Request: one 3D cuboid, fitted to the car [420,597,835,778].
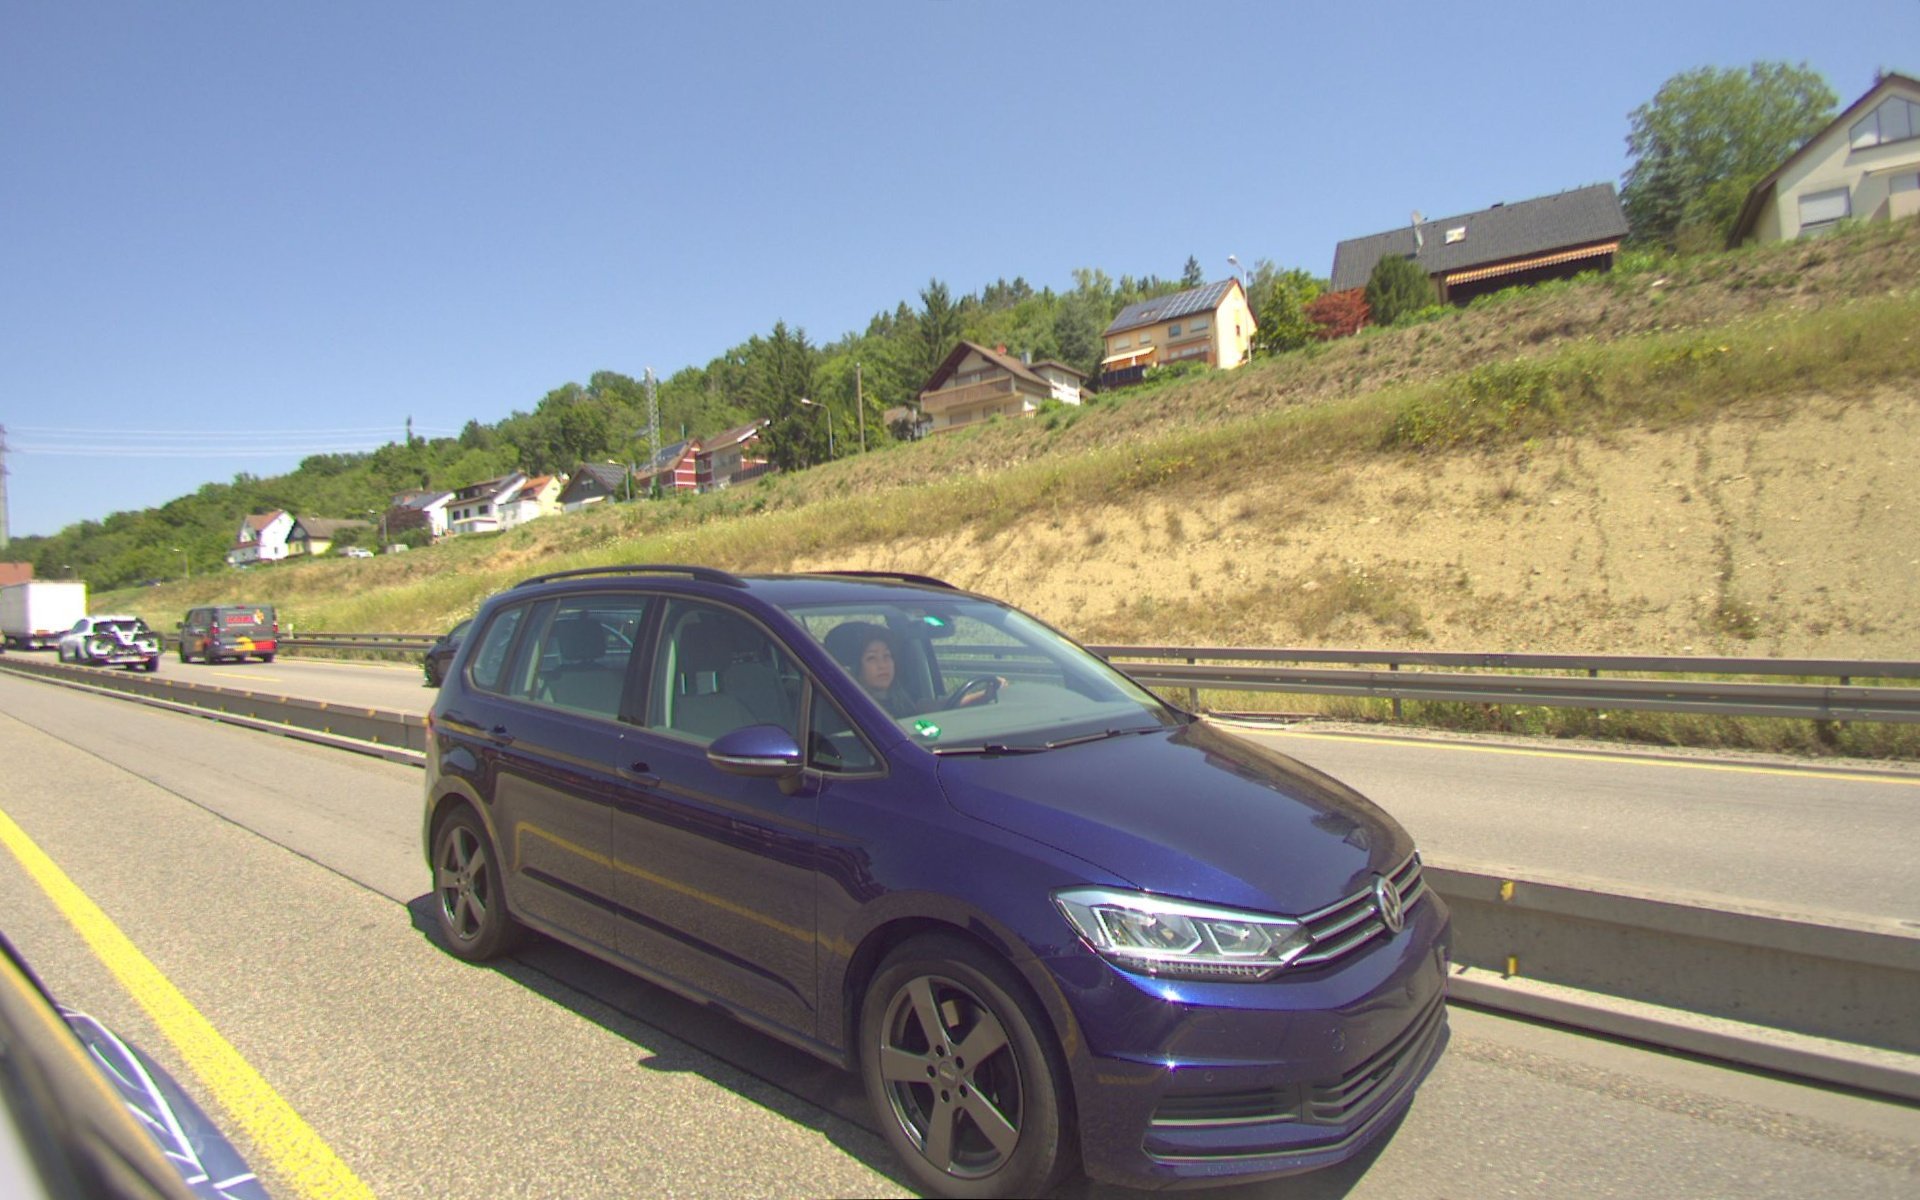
[{"bbox_3d":[-3.790,0.779,10.956,5.087,1.510,1.935,-1,0,41],"label":"car"}]

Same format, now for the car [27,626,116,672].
[{"bbox_3d":[-29.746,1.600,33.828,4.240,1.429,1.692,-2,-1,41],"label":"car"}]

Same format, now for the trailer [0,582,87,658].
[{"bbox_3d":[-56.208,1.241,61.561,13.971,4.213,2.757,-2,-1,41],"label":"trailer"}]

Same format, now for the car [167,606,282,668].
[{"bbox_3d":[-25.177,1.245,34.584,5.117,1.941,2.017,-2,-2,40],"label":"car"}]

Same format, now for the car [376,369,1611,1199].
[{"bbox_3d":[-0.410,0.550,3.885,4.650,1.731,1.757,-3,-1,41],"label":"car"}]

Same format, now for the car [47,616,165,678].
[{"bbox_3d":[-25.154,1.348,29.732,5.367,1.667,1.820,-2,-2,40],"label":"car"}]

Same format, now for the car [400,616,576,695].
[{"bbox_3d":[-9.670,1.079,20.593,4.240,1.429,1.692,-2,-1,41],"label":"car"}]
